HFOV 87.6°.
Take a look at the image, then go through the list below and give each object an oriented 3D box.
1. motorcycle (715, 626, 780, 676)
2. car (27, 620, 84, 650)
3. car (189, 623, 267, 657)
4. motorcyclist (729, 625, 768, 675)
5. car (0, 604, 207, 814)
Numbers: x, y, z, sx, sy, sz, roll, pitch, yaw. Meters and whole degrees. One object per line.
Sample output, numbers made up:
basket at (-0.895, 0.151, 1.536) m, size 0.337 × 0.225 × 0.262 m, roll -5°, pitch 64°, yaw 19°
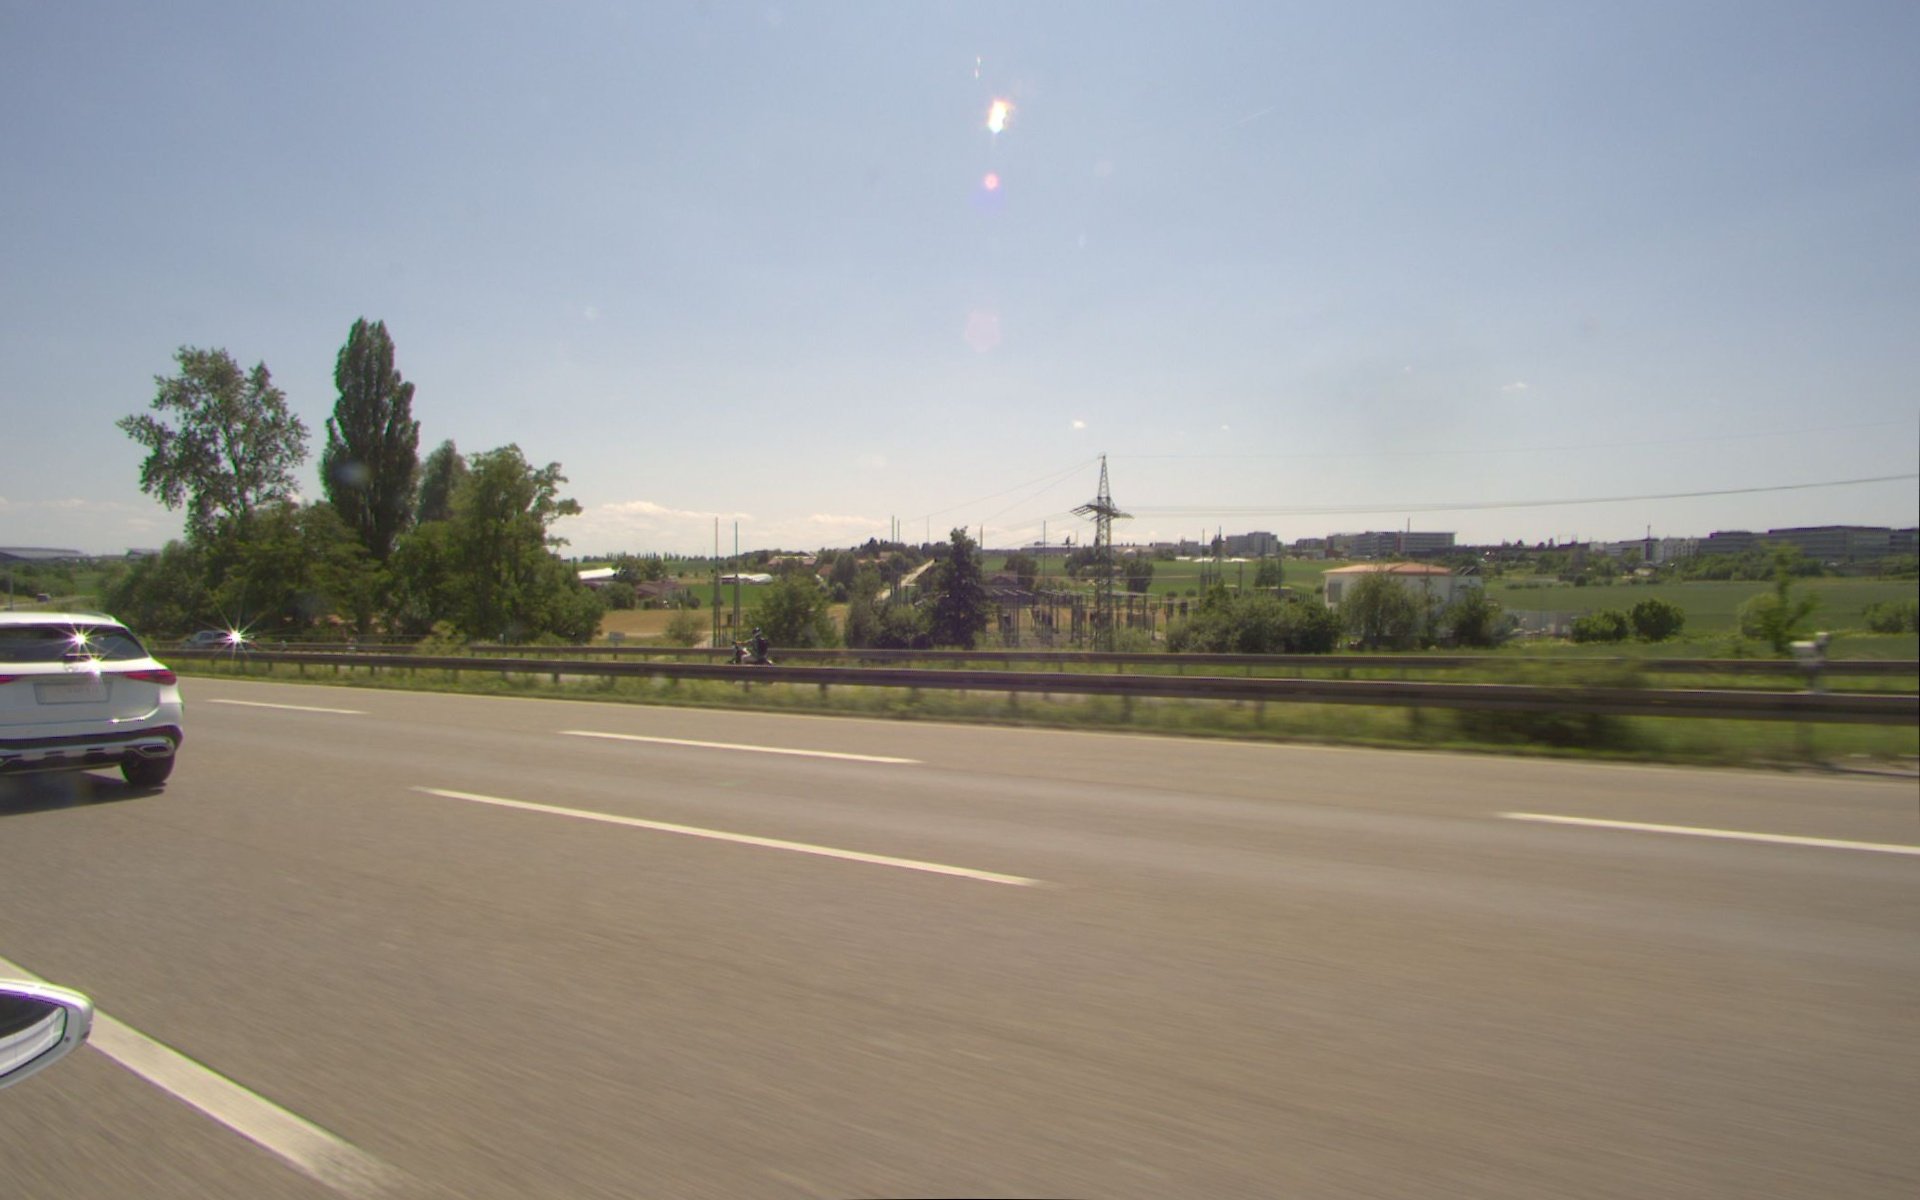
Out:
motorcycle at (-6.058, 1.448, 28.517) m, size 1.843 × 1.384 × 0.758 m, roll -1°, pitch -1°, yaw 33°
car at (-60.430, 2.359, 66.907) m, size 4.122 × 1.948 × 1.934 m, roll -1°, pitch -1°, yaw 34°
car at (-35.581, 1.941, 48.639) m, size 4.069 × 1.595 × 1.696 m, roll -1°, pitch -1°, yaw 33°
motorcyclist at (-6.005, 1.410, 28.465) m, size 0.866 × 1.384 × 0.667 m, roll -1°, pitch -1°, yaw 32°
car at (-9.447, 0.917, 9.694) m, size 4.928 × 1.668 × 1.894 m, roll -1°, pitch -2°, yaw 33°
